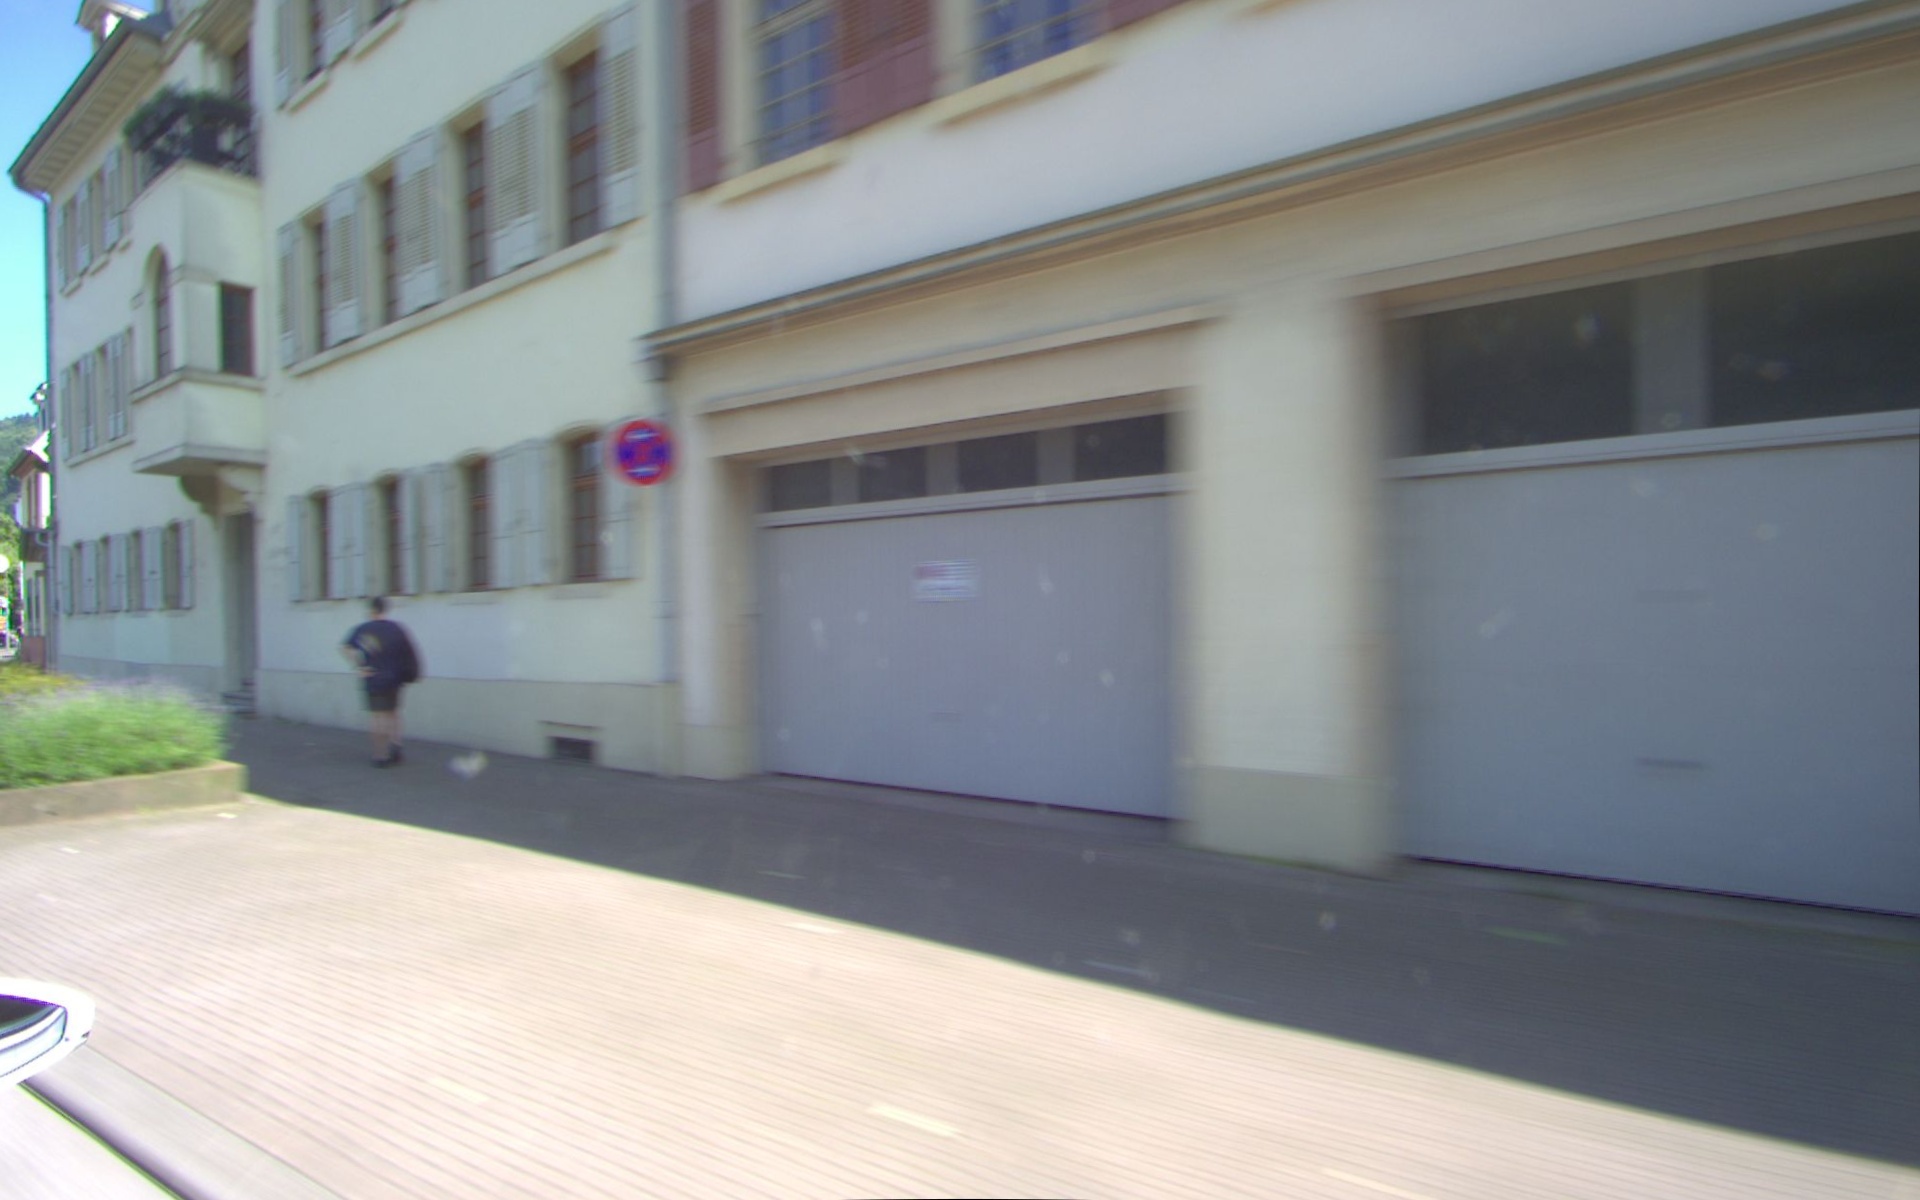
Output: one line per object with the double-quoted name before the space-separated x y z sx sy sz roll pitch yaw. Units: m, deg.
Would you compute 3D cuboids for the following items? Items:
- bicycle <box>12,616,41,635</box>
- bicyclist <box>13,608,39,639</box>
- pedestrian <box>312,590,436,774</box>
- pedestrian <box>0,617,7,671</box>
"bicycle" -48.840 1.353 52.371 1.758 0.976 0.747 -1 -1 35
"bicyclist" -48.858 1.216 52.384 1.074 1.604 0.764 -1 0 34
"pedestrian" -5.899 0.790 10.100 0.686 1.737 0.759 -1 3 35
"pedestrian" -31.527 1.438 32.495 0.922 1.721 0.734 0 1 40
